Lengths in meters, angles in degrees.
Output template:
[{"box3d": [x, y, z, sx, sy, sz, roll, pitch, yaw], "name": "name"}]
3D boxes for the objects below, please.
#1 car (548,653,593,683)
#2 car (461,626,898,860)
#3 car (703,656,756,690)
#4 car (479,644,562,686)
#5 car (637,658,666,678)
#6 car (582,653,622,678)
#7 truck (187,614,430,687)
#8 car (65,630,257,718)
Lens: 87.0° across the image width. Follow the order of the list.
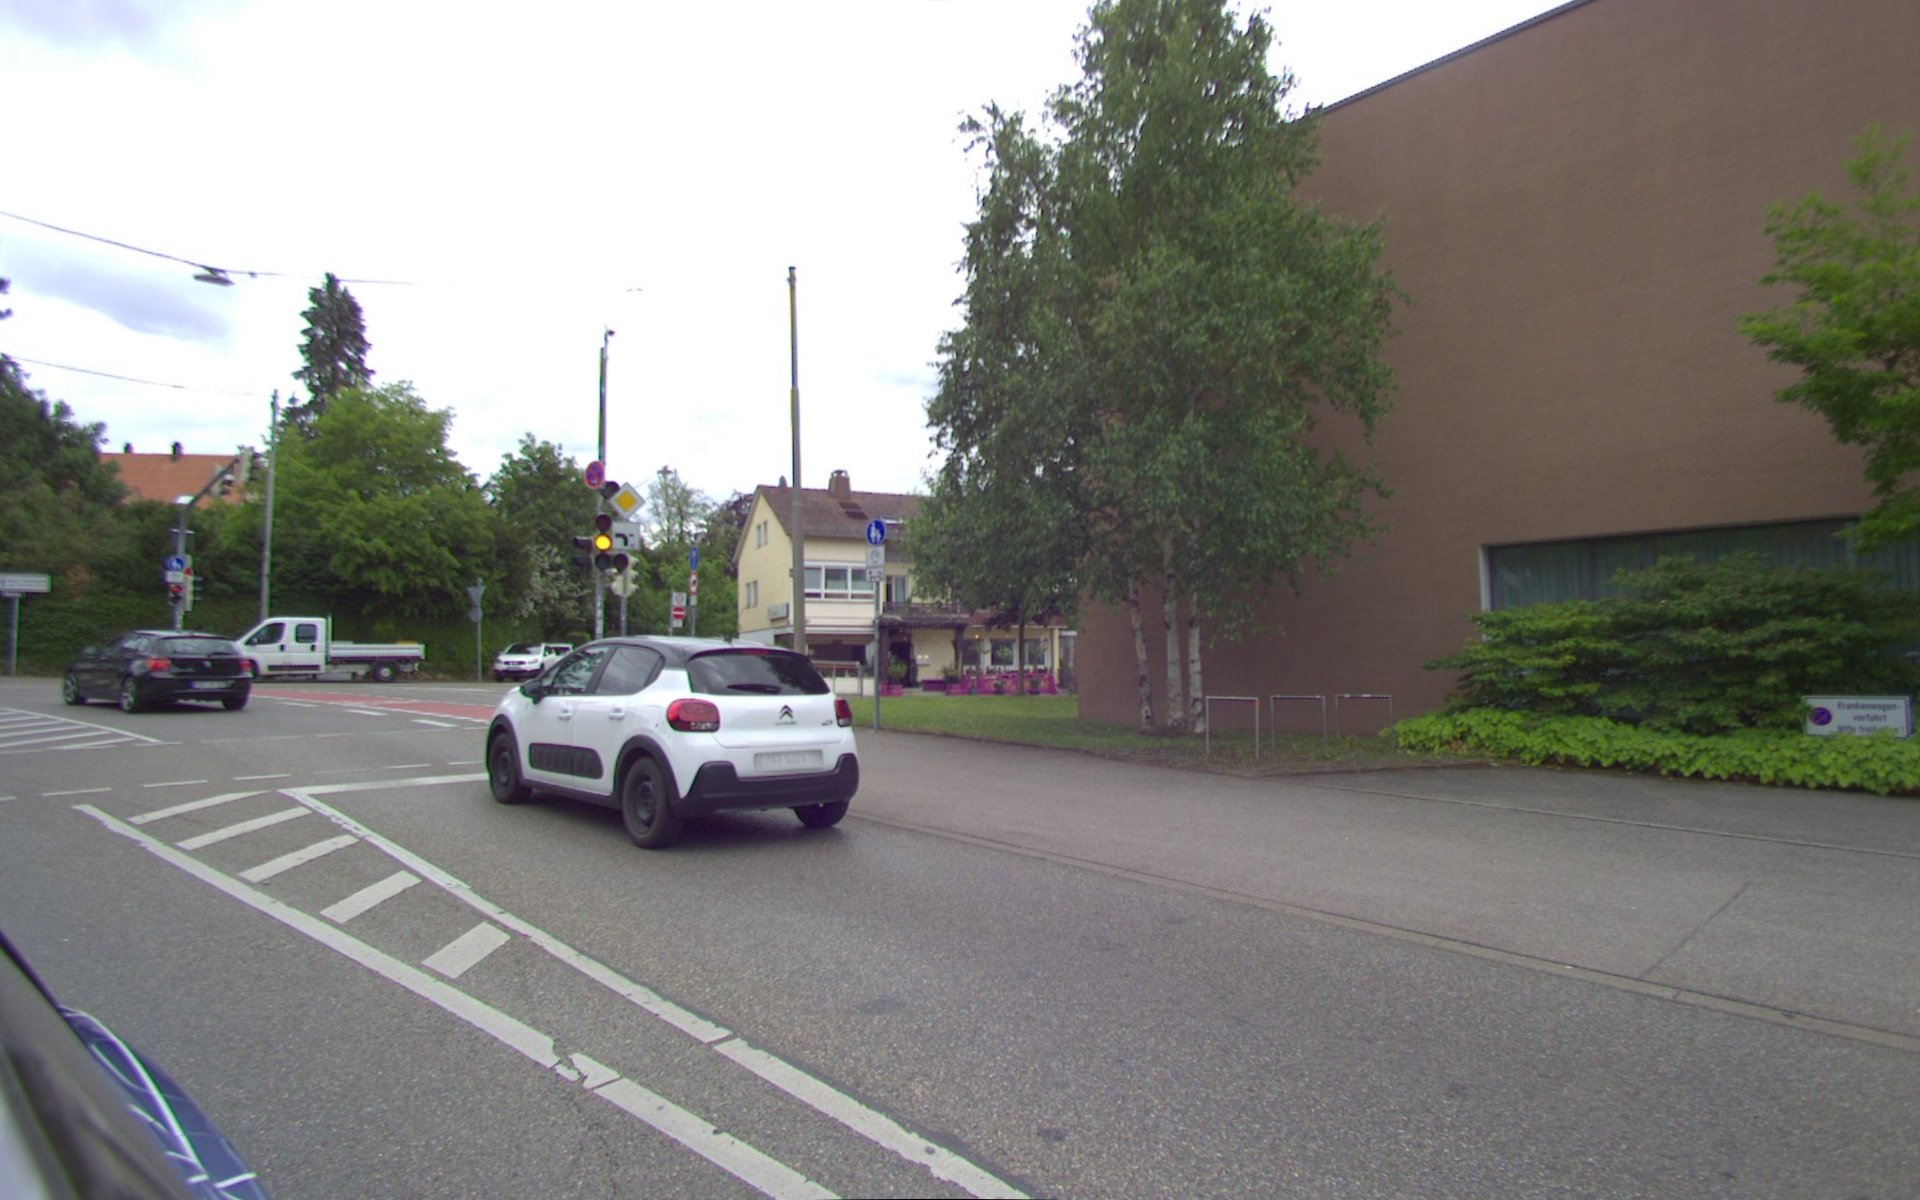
[{"box3d": [-20.312, 3.510, 52.852, 1.840, 1.464, 3.741, 1, -3, -16], "name": "car"}, {"box3d": [-2.416, 1.003, 8.229, 3.757, 1.451, 1.676, -2, -6, 44], "name": "car"}, {"box3d": [-10.494, 3.285, 45.944, 1.848, 1.460, 4.012, 2, -4, -19], "name": "car"}, {"box3d": [-17.980, 2.661, 41.619, 1.969, 1.625, 4.005, 2, -4, -6], "name": "car"}, {"box3d": [-26.309, 5.759, 86.329, 1.842, 1.599, 3.738, 2, -3, -10], "name": "car"}, {"box3d": [-23.812, 4.320, 67.430, 1.842, 1.599, 3.738, 1, -3, -10], "name": "car"}, {"box3d": [-21.911, 1.761, 34.372, 6.605, 2.205, 2.536, 4, -4, -33], "name": "truck"}, {"box3d": [-14.577, 1.303, 18.407, 3.995, 1.419, 1.745, -1, -5, 38], "name": "car"}]
